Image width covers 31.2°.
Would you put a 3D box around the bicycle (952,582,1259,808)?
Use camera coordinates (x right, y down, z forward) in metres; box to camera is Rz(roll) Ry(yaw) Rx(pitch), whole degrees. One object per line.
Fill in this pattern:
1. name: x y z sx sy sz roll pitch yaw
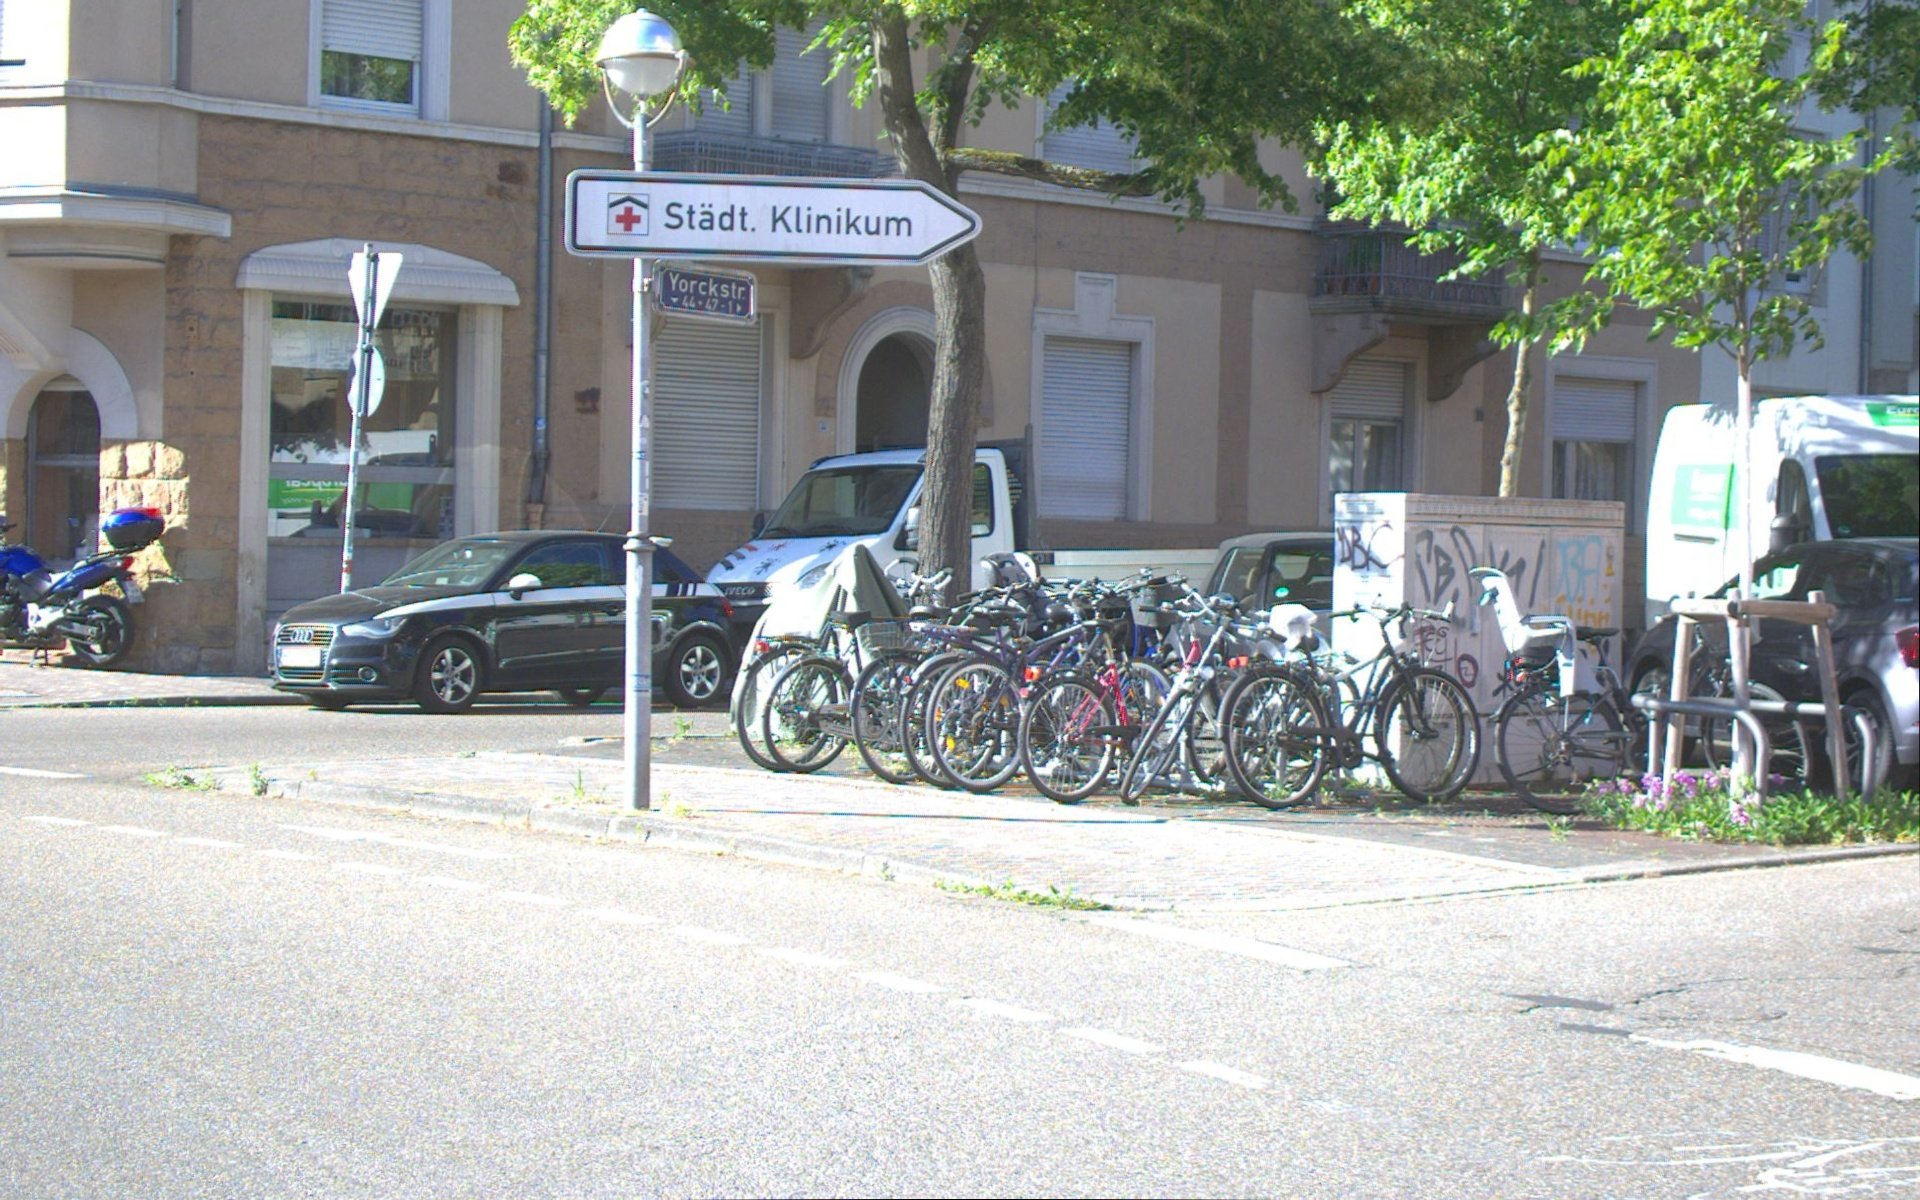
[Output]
1. bicycle: 0.771 0.470 17.895 1.645 1.098 0.500 -1 3 -39

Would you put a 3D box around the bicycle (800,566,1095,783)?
1. bicycle: -0.058 0.390 18.985 1.597 1.123 0.589 -1 3 -40

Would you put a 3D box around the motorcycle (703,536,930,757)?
1. motorcycle: -0.918 0.264 21.504 0.536 1.266 1.711 0 3 -36

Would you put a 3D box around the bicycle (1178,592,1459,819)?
1. bicycle: 1.834 0.517 17.477 1.522 1.082 0.419 -1 3 -38

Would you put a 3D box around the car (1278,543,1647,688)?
1. car: 5.137 0.136 34.841 3.912 1.385 1.687 0 1 -45

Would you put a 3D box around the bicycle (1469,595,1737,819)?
1. bicycle: 3.324 0.532 17.725 1.522 1.082 0.419 -1 3 -38

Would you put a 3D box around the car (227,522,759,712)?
1. car: -3.601 0.107 26.981 3.912 1.385 1.687 0 1 -45

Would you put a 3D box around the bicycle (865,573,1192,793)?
1. bicycle: 0.382 0.420 18.424 1.725 1.085 0.657 -1 3 -40

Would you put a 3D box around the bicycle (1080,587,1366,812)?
1. bicycle: 1.363 0.492 17.675 1.569 1.085 0.419 -1 3 -38

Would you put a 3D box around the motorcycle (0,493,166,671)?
1. motorcycle: -7.993 -0.186 29.439 2.245 1.406 0.700 3 3 18

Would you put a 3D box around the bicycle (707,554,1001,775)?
1. bicycle: -0.592 0.344 19.563 1.675 1.188 0.538 -1 3 -40

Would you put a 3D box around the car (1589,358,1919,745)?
1. car: 6.566 -0.435 26.474 2.096 2.591 6.377 2 2 -1

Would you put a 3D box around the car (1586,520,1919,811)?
1. car: 5.374 0.325 20.226 1.682 1.441 3.924 1 2 -16

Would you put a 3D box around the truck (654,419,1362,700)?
1. truck: 0.571 -0.350 30.951 6.602 2.284 2.139 0 1 -41
